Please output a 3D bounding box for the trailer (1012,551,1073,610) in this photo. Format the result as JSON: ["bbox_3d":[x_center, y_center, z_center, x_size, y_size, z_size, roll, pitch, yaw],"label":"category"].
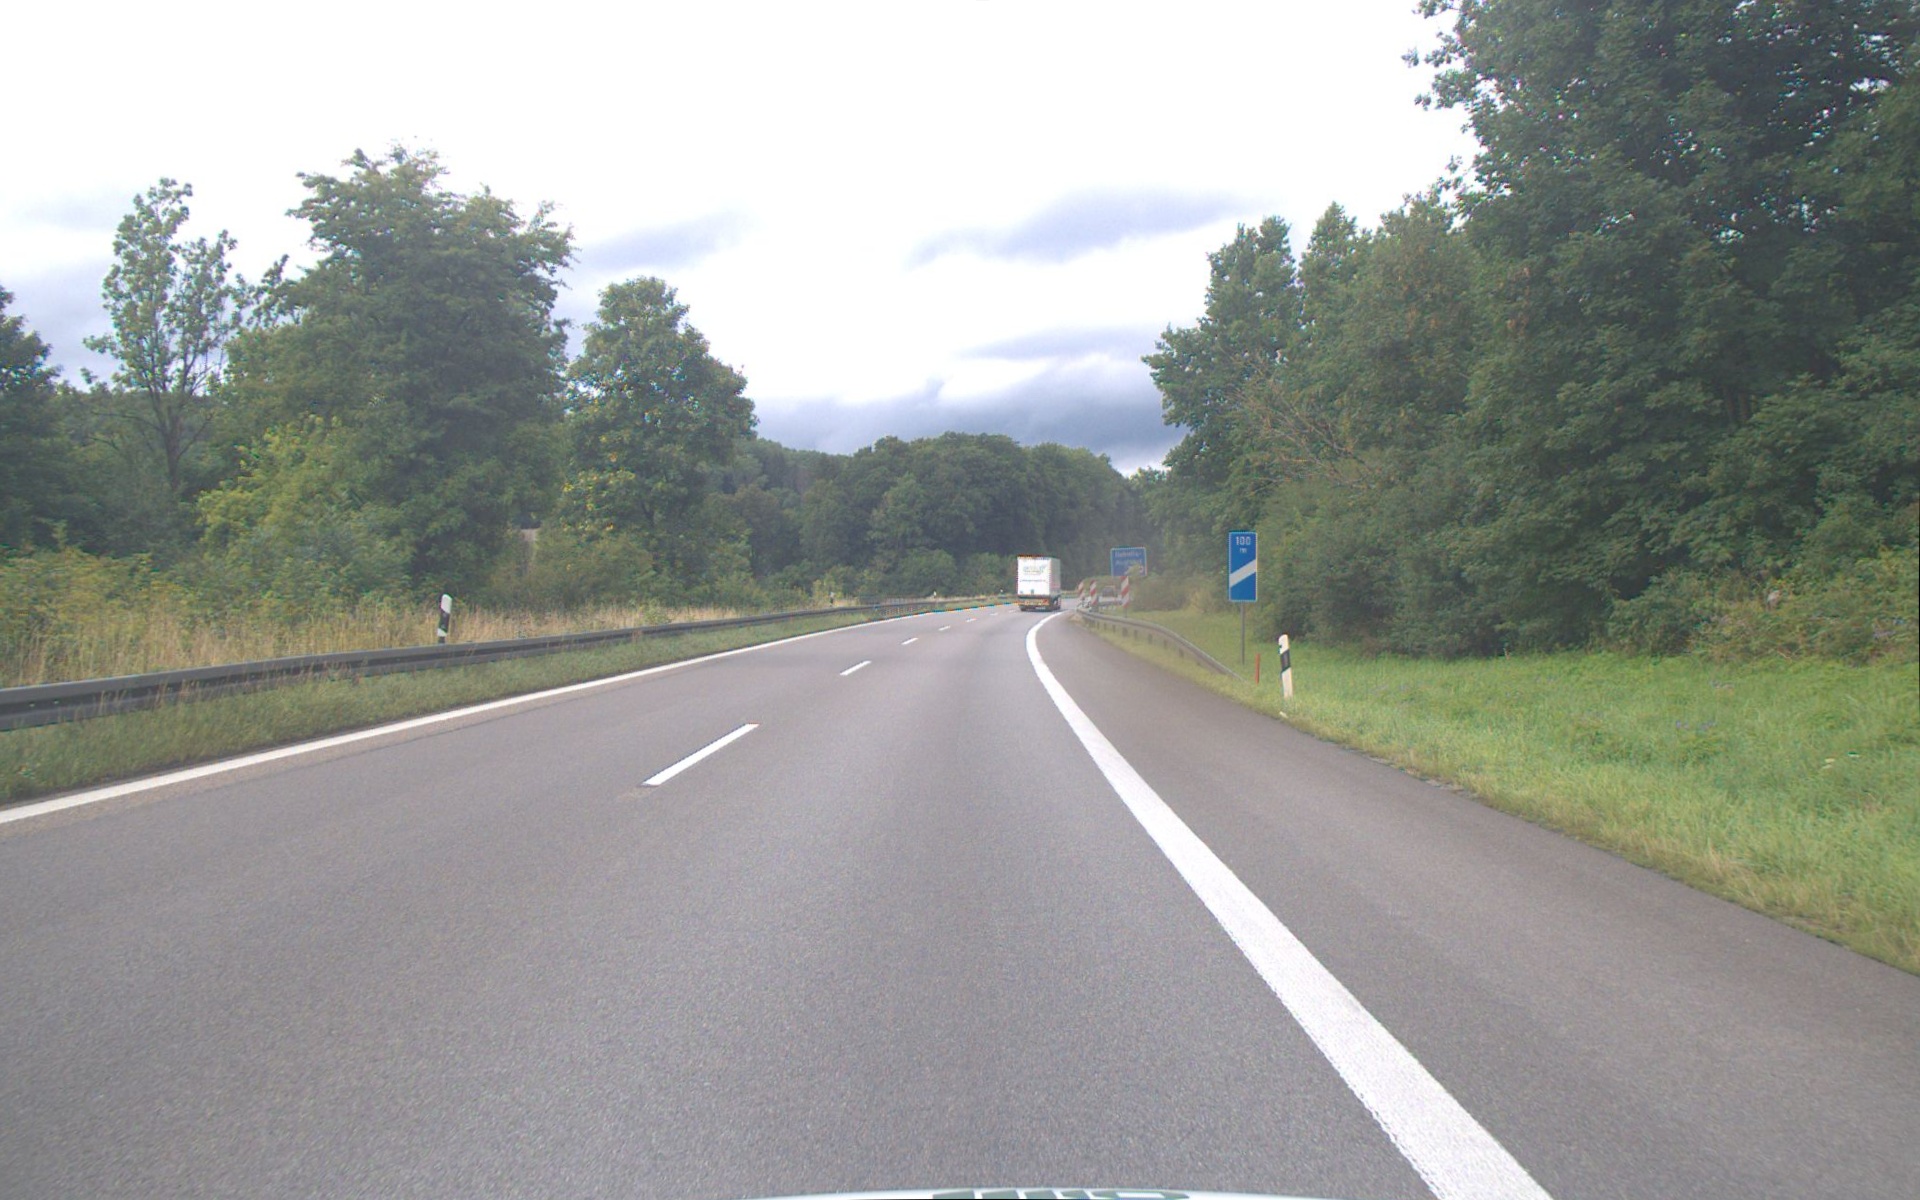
[{"bbox_3d":[6.561,-1.464,128.765,3.725,4.247,14.819,-1,0,7],"label":"trailer"}]

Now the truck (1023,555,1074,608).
[{"bbox_3d":[7.329,-1.478,135.604,3.707,4.204,8.270,-1,0,6],"label":"truck"}]

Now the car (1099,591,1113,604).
[{"bbox_3d":[20.889,-0.346,236.364,1.862,1.827,4.003,1,-1,8],"label":"car"}]
